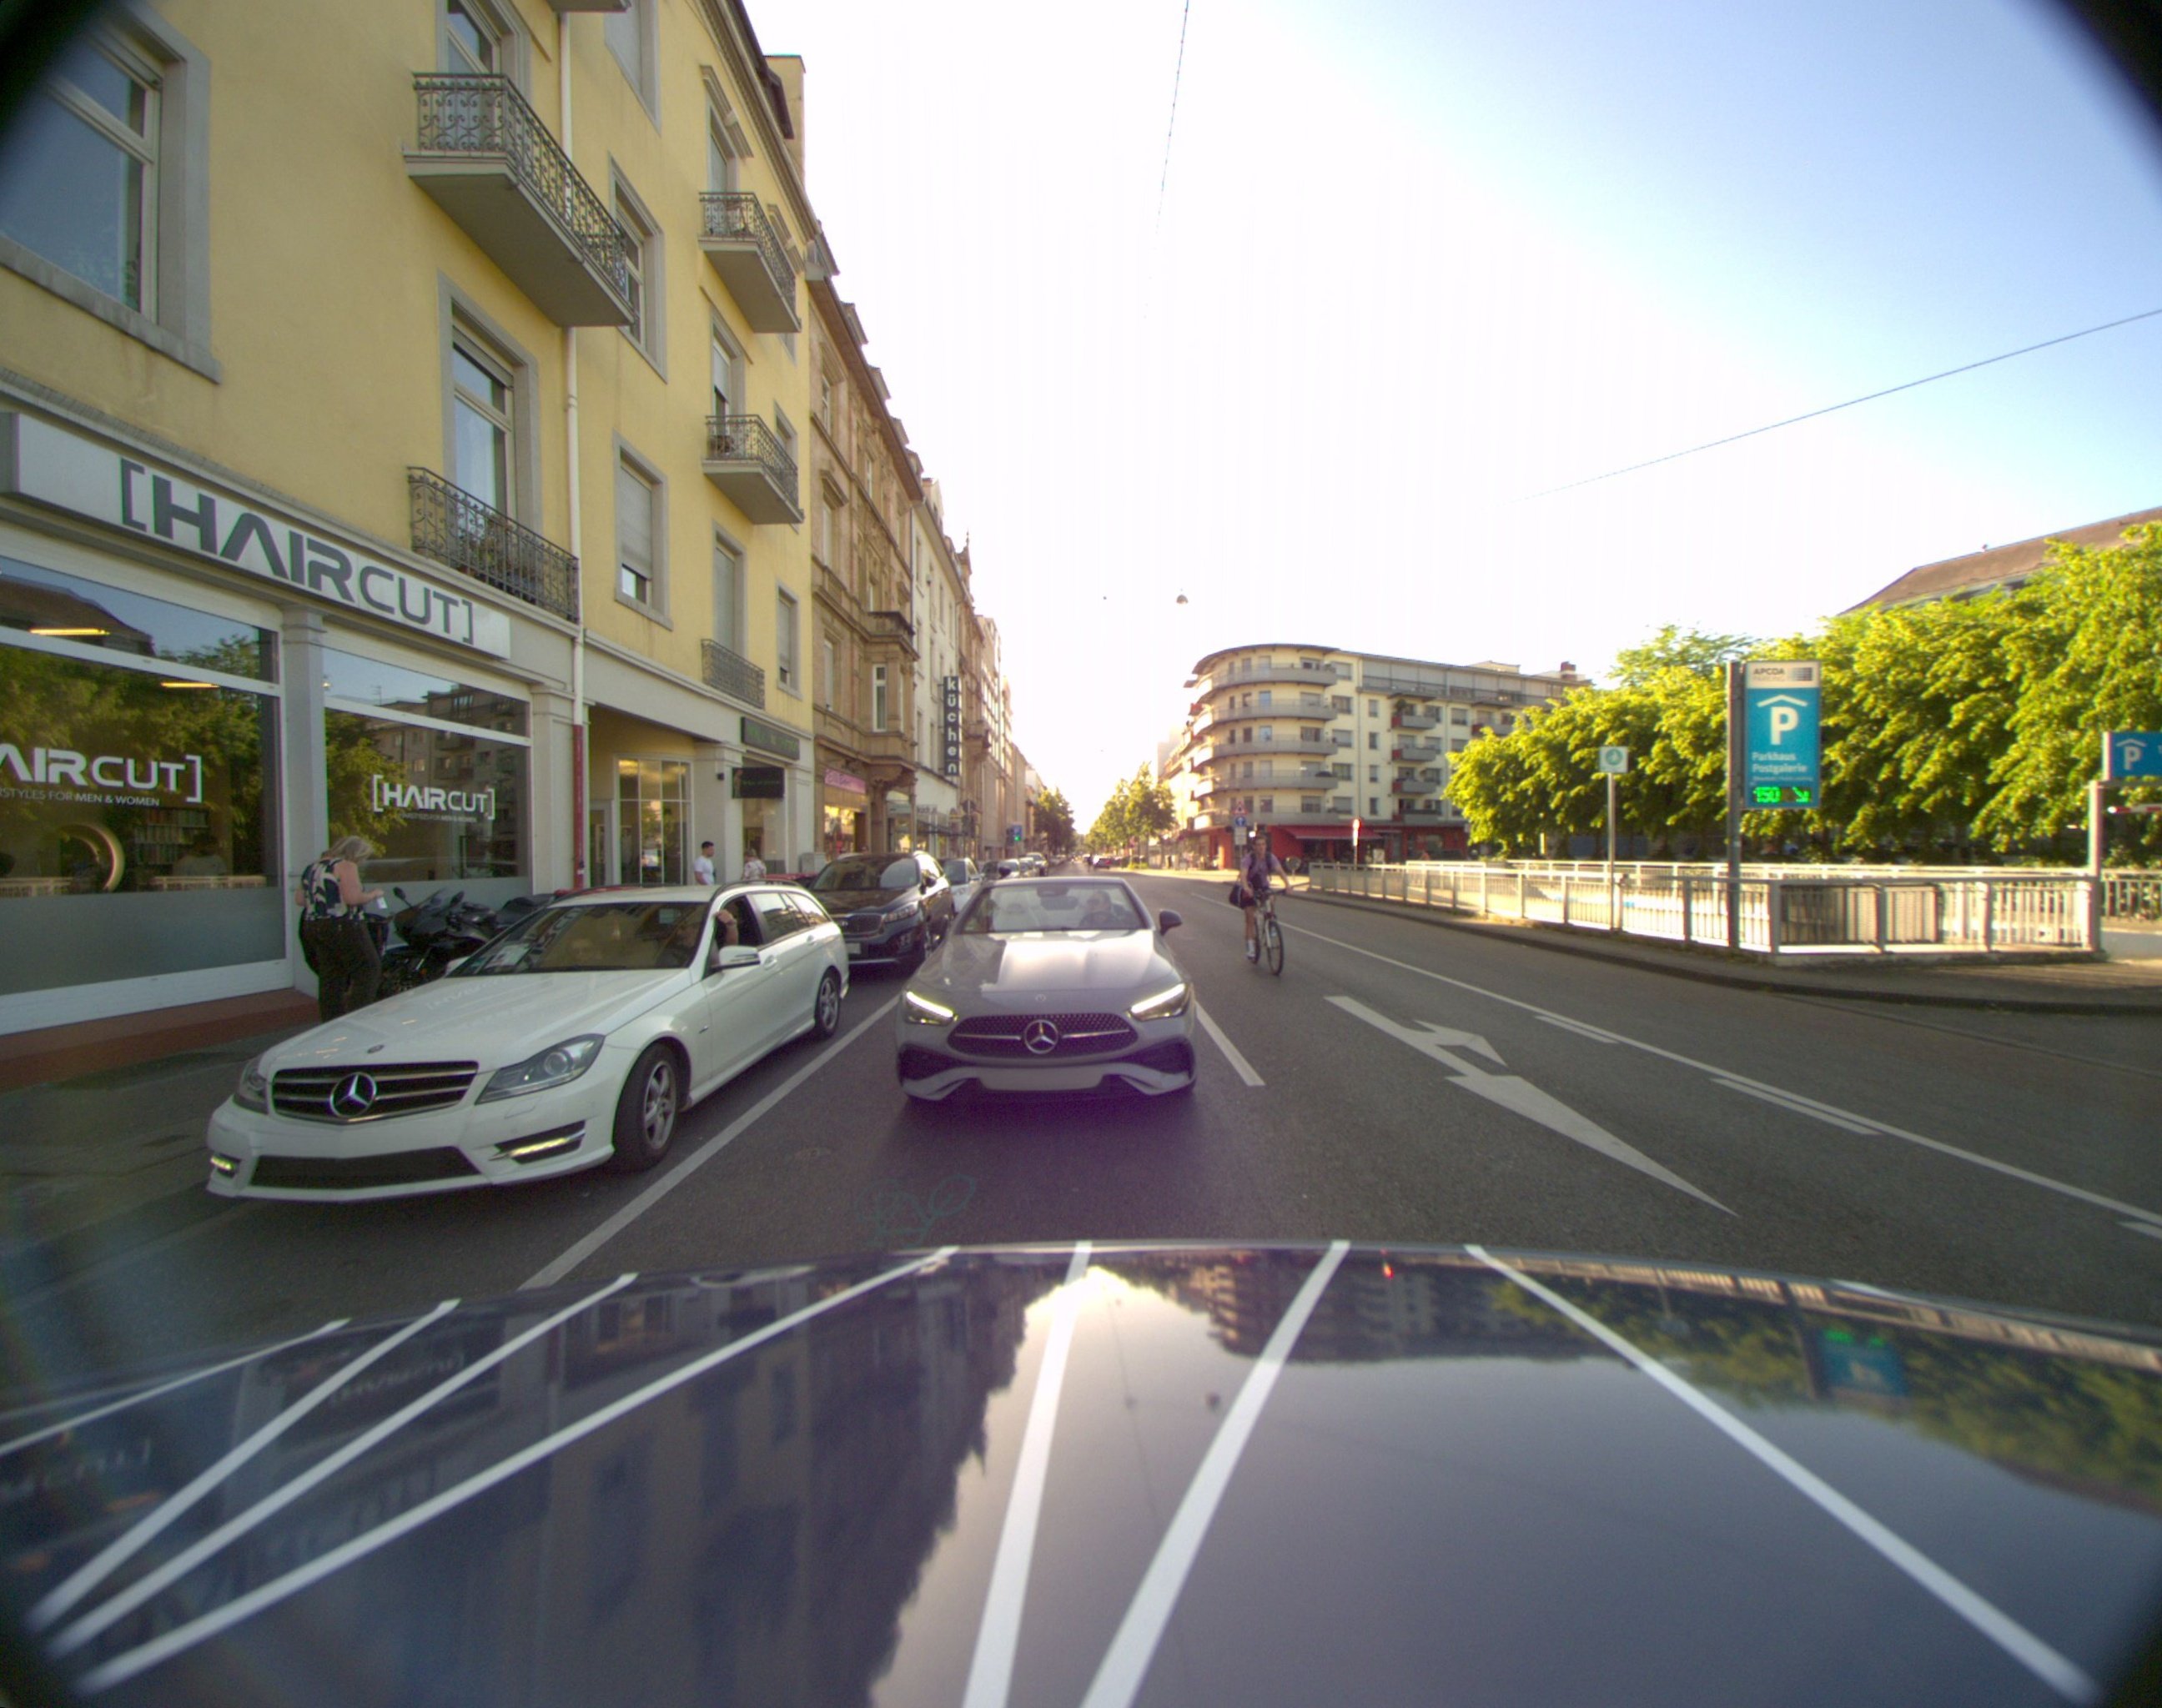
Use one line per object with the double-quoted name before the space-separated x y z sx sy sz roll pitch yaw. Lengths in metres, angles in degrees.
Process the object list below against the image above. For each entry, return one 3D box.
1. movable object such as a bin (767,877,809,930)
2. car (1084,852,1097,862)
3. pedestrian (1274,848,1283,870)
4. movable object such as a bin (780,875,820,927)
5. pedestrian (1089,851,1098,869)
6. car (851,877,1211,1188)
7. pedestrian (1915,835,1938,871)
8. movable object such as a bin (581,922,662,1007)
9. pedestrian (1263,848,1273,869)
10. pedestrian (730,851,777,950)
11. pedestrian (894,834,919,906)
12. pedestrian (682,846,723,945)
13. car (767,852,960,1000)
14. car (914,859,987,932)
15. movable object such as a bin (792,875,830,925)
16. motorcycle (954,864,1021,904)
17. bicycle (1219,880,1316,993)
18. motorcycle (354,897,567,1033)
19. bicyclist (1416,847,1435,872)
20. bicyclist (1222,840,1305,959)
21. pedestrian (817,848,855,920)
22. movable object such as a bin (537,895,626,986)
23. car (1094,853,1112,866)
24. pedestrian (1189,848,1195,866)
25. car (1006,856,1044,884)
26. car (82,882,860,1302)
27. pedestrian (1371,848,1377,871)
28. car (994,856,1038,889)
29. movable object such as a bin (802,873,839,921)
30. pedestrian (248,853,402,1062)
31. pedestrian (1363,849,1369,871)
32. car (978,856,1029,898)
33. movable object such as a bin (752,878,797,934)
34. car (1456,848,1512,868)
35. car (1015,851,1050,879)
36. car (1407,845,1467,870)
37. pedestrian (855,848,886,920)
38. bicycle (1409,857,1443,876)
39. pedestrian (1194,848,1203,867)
"movable object such as a bin" -6.081 1.017 15.800 0.606 1.060 0.619 2 1 0
"car" 1.506 0.423 117.894 1.895 1.388 4.255 -1 0 0
"pedestrian" 15.414 0.423 59.286 0.575 1.698 0.642 -1 1 3
"movable object such as a bin" -6.069 1.010 16.414 0.606 1.060 0.619 2 1 0
"pedestrian" 1.124 0.517 69.692 0.774 1.606 0.696 -1 1 -3
"car" -0.251 1.002 6.164 1.848 1.440 4.373 -1 0 0
"pedestrian" 43.088 -0.066 38.719 0.602 1.782 0.581 -2 1 -20
"movable object such as a bin" -6.063 1.441 10.048 0.669 1.019 0.619 2 1 3
"pedestrian" 14.759 0.351 59.954 0.575 1.698 0.642 -1 1 3
"pedestrian" -5.639 0.780 13.091 0.450 1.651 0.594 1 1 41
"pedestrian" -4.311 0.391 18.771 0.434 1.752 0.481 -2 1 1
"pedestrian" -6.425 0.684 12.903 0.337 1.651 0.525 1 1 25
"car" -2.980 0.865 11.450 1.760 1.726 4.571 -1 0 -3
"car" -3.007 0.904 17.867 1.275 1.509 2.794 -1 0 -2
"movable object such as a bin" -6.058 1.016 17.048 0.606 1.060 0.619 2 1 0
"motorcycle" -3.240 1.015 26.461 2.178 1.272 0.866 -2 1 -42
"bicycle" 2.315 0.982 9.648 0.798 1.226 1.773 -1 0 1
"motorcycle" -6.206 1.049 7.773 0.551 1.085 2.009 0 0 -1
"bicyclist" 22.160 0.358 48.869 0.973 1.605 0.715 -1 1 40
"bicyclist" 2.309 0.551 9.738 0.798 1.426 1.008 -1 1 1
"pedestrian" -5.641 0.688 17.500 0.617 1.623 0.464 -1 1 26
"movable object such as a bin" -6.160 1.050 9.397 0.661 1.035 0.619 2 1 3
"car" 2.468 0.557 84.554 1.806 1.388 3.926 -1 0 -1
"pedestrian" 9.734 0.274 66.538 0.376 1.521 0.516 -2 1 -3
"car" -2.986 0.823 41.052 1.737 1.409 3.802 -1 0 0
"car" -3.056 1.026 5.244 1.743 1.438 4.463 -1 0 0
"pedestrian" 21.417 0.422 55.545 0.270 1.658 0.362 -1 1 32
"car" -3.065 0.857 36.519 1.737 1.409 3.802 -1 0 0
"movable object such as a bin" -6.059 0.987 17.708 0.606 1.060 0.619 2 1 0
"pedestrian" -6.102 0.803 6.163 0.698 1.623 0.532 0 1 -2
"pedestrian" 20.888 0.440 55.620 0.322 1.658 0.362 -1 1 32
"car" -3.031 0.871 30.502 1.737 1.509 4.164 -1 0 -2
"movable object such as a bin" -6.104 1.025 15.153 0.606 1.060 0.619 2 1 0
"car" 34.295 0.347 64.627 4.300 1.611 1.951 -2 1 -24
"car" -2.991 0.648 47.682 1.895 1.680 4.049 -1 0 0
"car" 29.267 0.268 62.471 4.432 1.901 1.951 -2 1 -24
"pedestrian" -4.895 0.689 17.664 0.514 1.623 0.415 -1 1 30
"bicycle" 22.179 0.793 48.871 1.868 1.205 0.715 -1 1 44
"pedestrian" 10.293 0.324 66.667 0.570 1.612 0.793 -2 1 -3
